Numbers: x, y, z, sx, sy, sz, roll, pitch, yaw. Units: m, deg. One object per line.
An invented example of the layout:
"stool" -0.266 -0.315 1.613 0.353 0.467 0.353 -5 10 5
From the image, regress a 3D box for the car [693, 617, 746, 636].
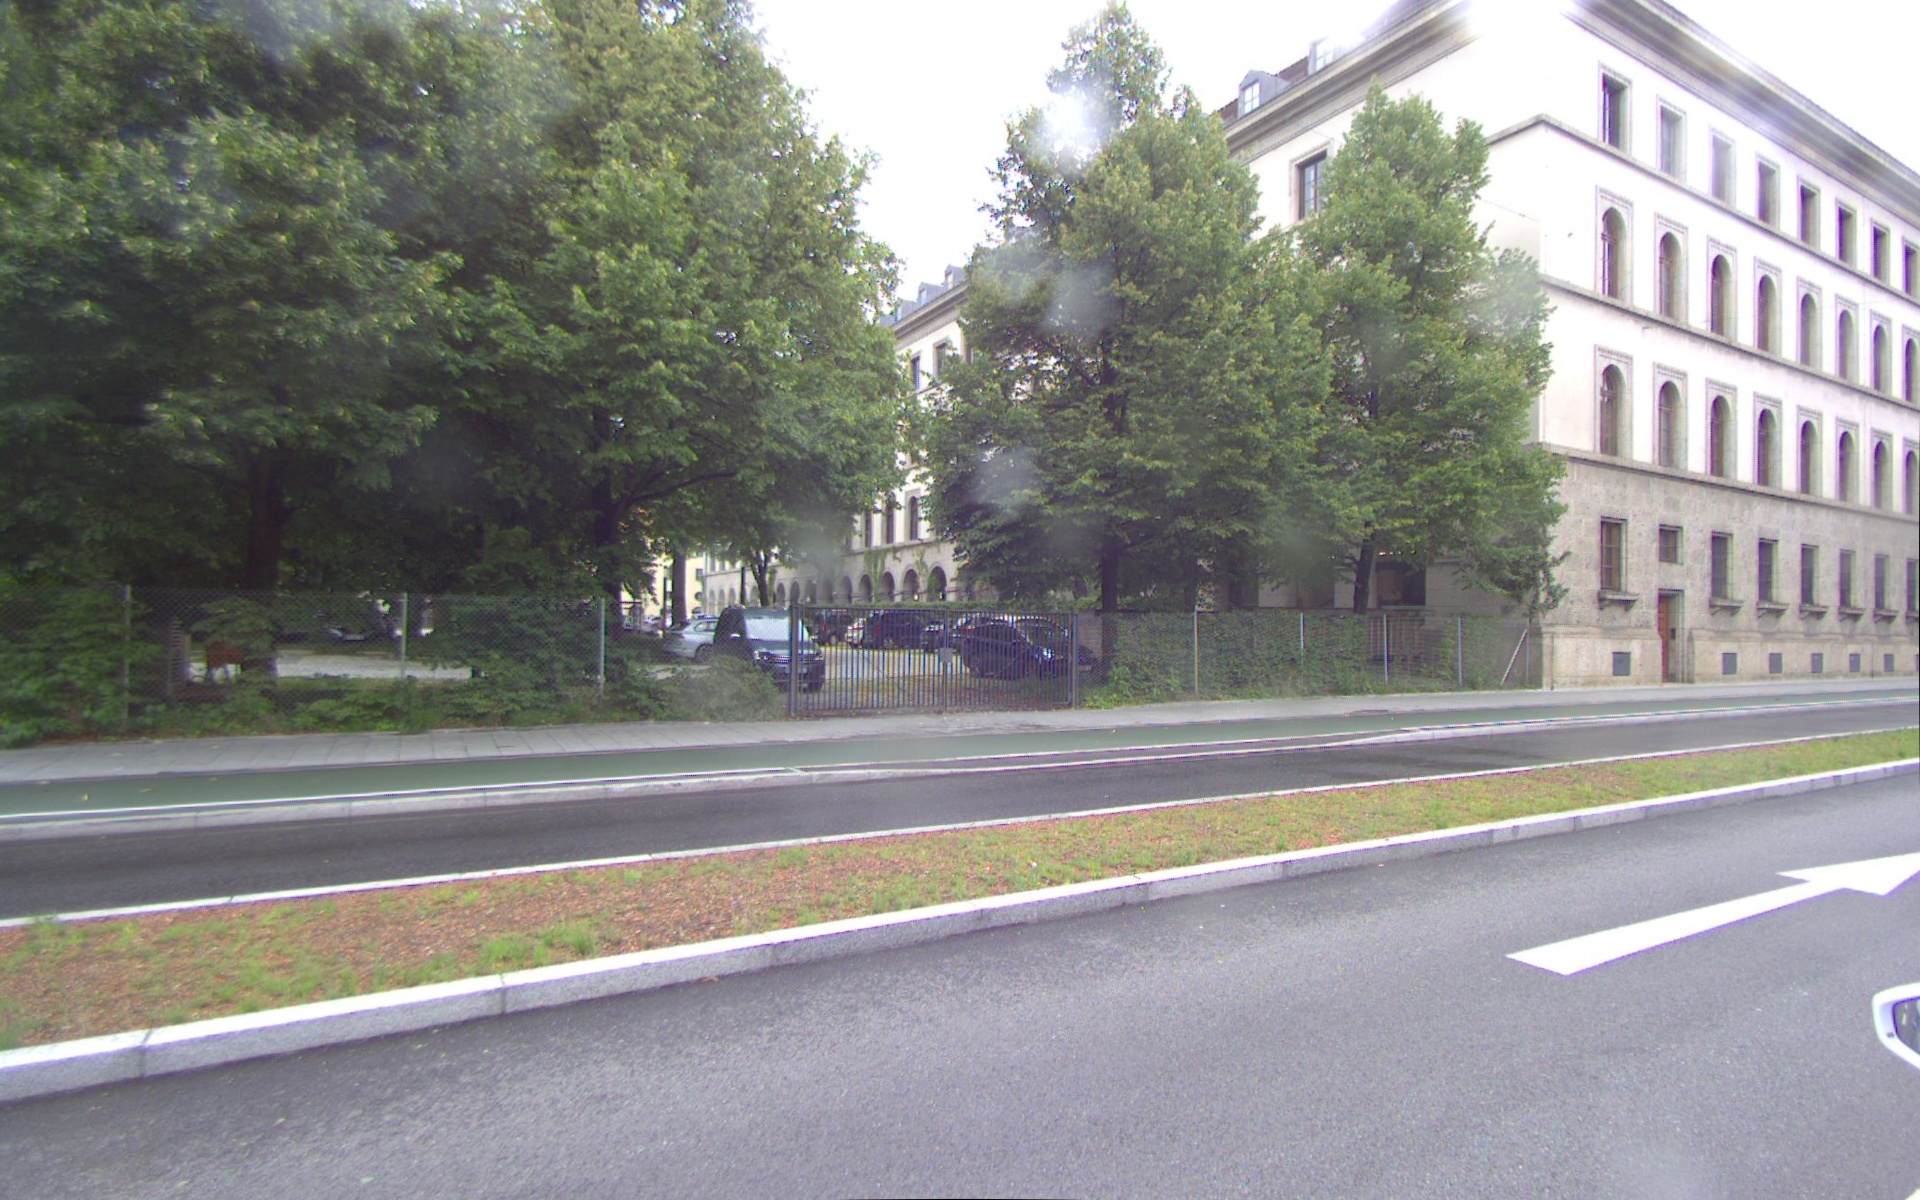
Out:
"car" -20.020 2.196 83.660 3.954 1.564 1.761 2 -1 -31

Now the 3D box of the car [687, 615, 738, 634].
"car" -21.139 2.100 85.864 3.954 1.564 1.761 2 -1 -31

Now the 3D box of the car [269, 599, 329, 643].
"car" -27.583 0.877 41.996 1.978 1.742 3.965 2 -2 -32

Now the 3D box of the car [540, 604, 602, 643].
"car" -18.372 1.105 47.332 1.978 1.742 3.965 2 -2 -32

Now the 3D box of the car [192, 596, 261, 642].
"car" -29.413 0.758 40.366 1.979 1.742 3.964 2 -2 -33

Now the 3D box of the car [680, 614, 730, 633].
"car" -22.389 2.060 88.337 3.954 1.564 1.761 2 -1 -31

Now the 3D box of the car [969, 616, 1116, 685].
"car" 2.080 1.281 26.535 1.783 1.671 4.243 1 -2 -30

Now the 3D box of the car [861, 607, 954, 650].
"car" -2.455 1.351 47.216 3.949 1.954 1.838 1 -1 -27

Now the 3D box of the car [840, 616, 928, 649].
"car" -3.730 1.601 49.236 3.954 1.564 1.761 2 -1 -31

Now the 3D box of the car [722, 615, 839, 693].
"car" -4.229 1.187 23.178 1.779 1.609 4.137 1 -2 -23

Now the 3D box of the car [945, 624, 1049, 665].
"car" 1.517 1.794 40.810 3.954 1.564 1.761 2 -1 -31

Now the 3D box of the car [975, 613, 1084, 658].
"car" 2.695 1.365 38.630 3.954 1.661 1.657 2 -1 -31

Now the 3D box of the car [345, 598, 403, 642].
"car" -24.969 0.850 42.714 1.978 1.742 3.965 2 -2 -32

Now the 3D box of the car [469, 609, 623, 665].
"car" -12.212 1.082 29.681 3.956 1.564 1.761 2 -1 -32

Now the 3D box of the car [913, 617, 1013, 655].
"car" 0.144 1.528 42.861 3.954 1.564 1.761 2 -1 -31

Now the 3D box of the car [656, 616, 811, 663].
"car" -7.374 1.281 32.846 4.579 1.460 1.984 2 -1 -31

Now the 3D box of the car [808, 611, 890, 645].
"car" -5.919 1.493 53.692 3.954 1.755 1.761 2 -1 -31

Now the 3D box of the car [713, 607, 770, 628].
"car" -16.859 1.385 77.455 3.954 1.564 1.761 2 -1 -31

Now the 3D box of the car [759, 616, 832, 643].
"car" -9.803 1.777 59.852 3.954 1.564 1.761 2 -1 -31
